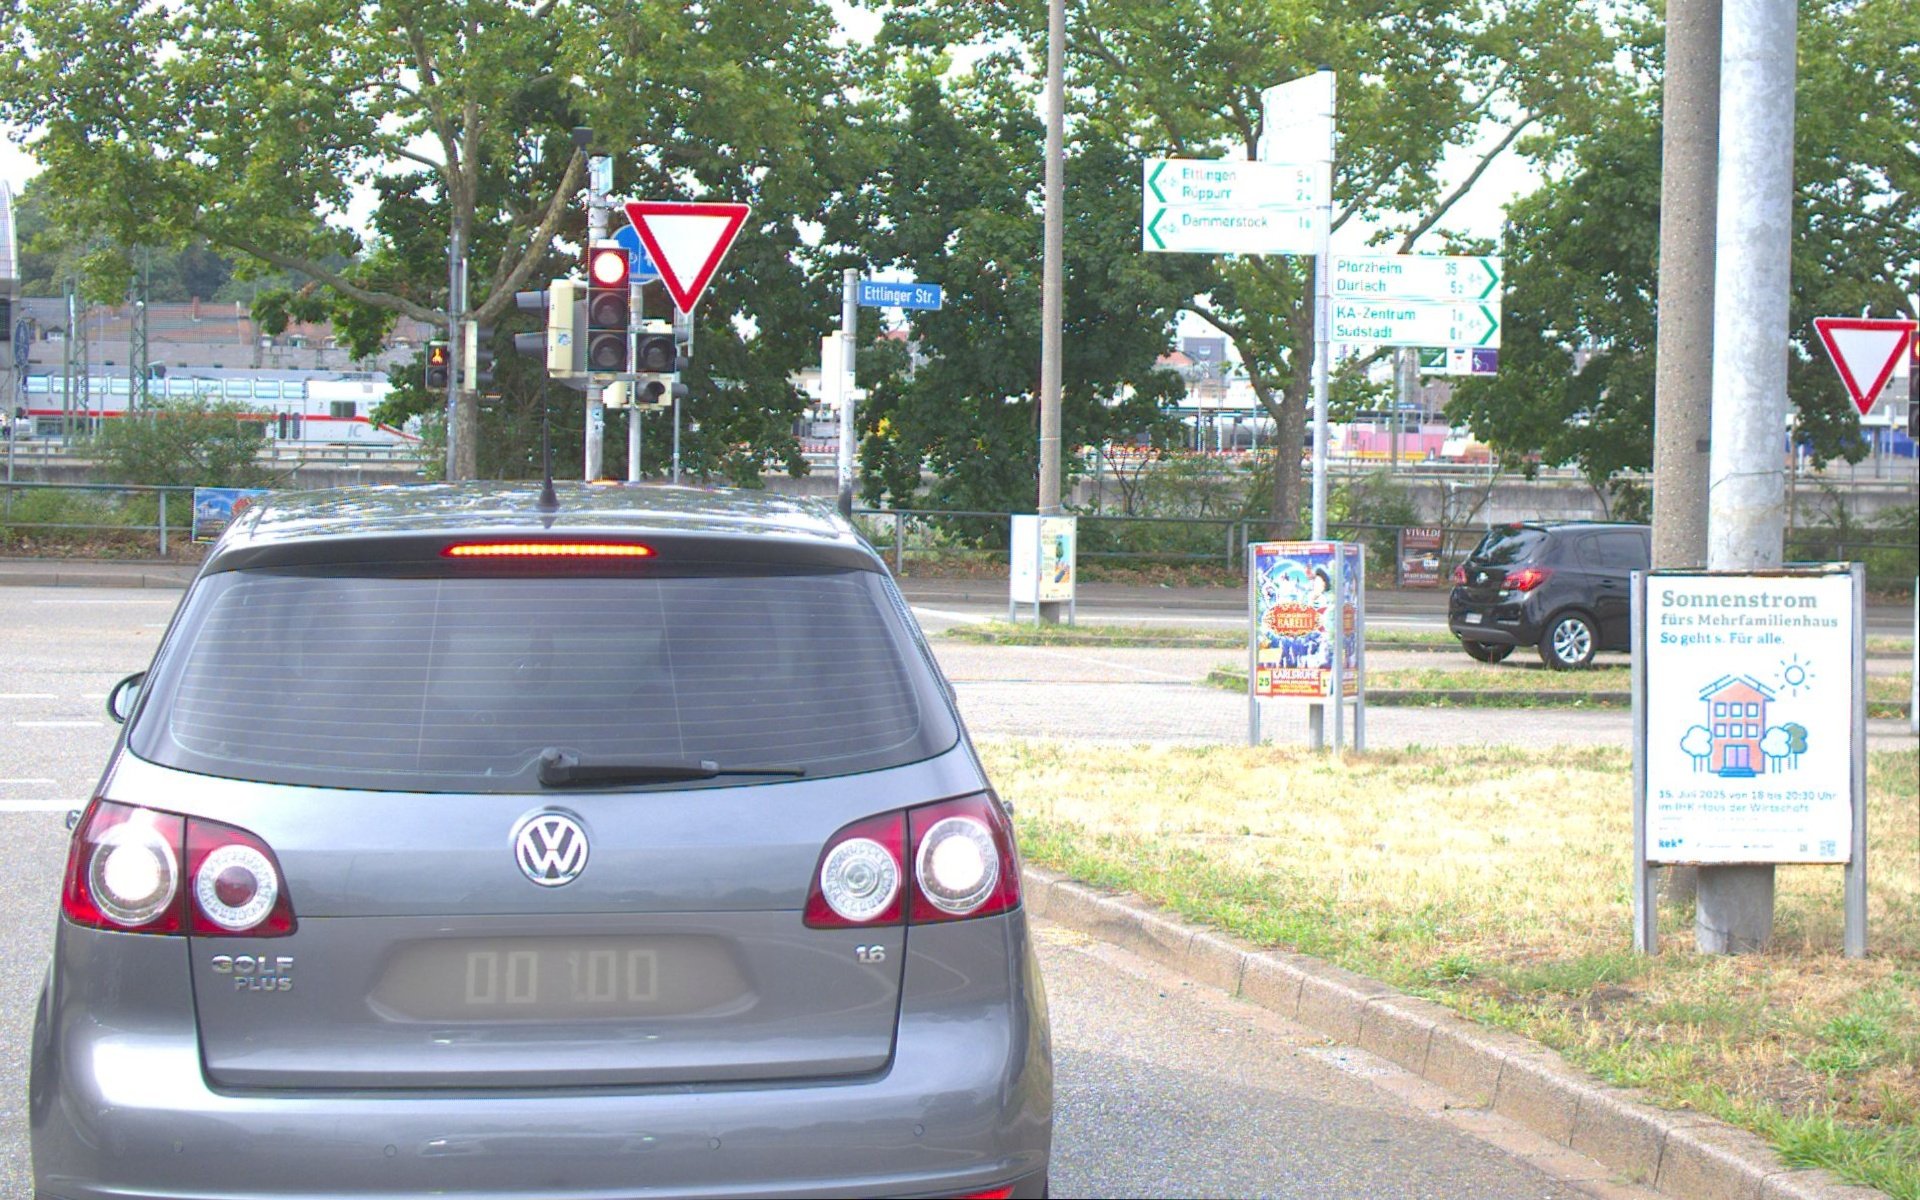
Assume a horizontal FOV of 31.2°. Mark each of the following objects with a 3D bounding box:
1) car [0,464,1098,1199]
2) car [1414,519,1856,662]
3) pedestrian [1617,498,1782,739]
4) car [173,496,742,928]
[{"bbox_3d":[-0.952,0.525,7.233,1.740,1.541,4.083,1,1,-8],"label":"car"},{"bbox_3d":[6.782,-0.103,34.558,4.056,1.363,1.703,0,2,-21],"label":"car"},{"bbox_3d":[5.446,0.119,25.289,1.048,1.704,0.853,2,2,17],"label":"pedestrian"},{"bbox_3d":[-2.183,0.335,13.949,1.740,1.477,4.083,0,1,-16],"label":"car"}]
